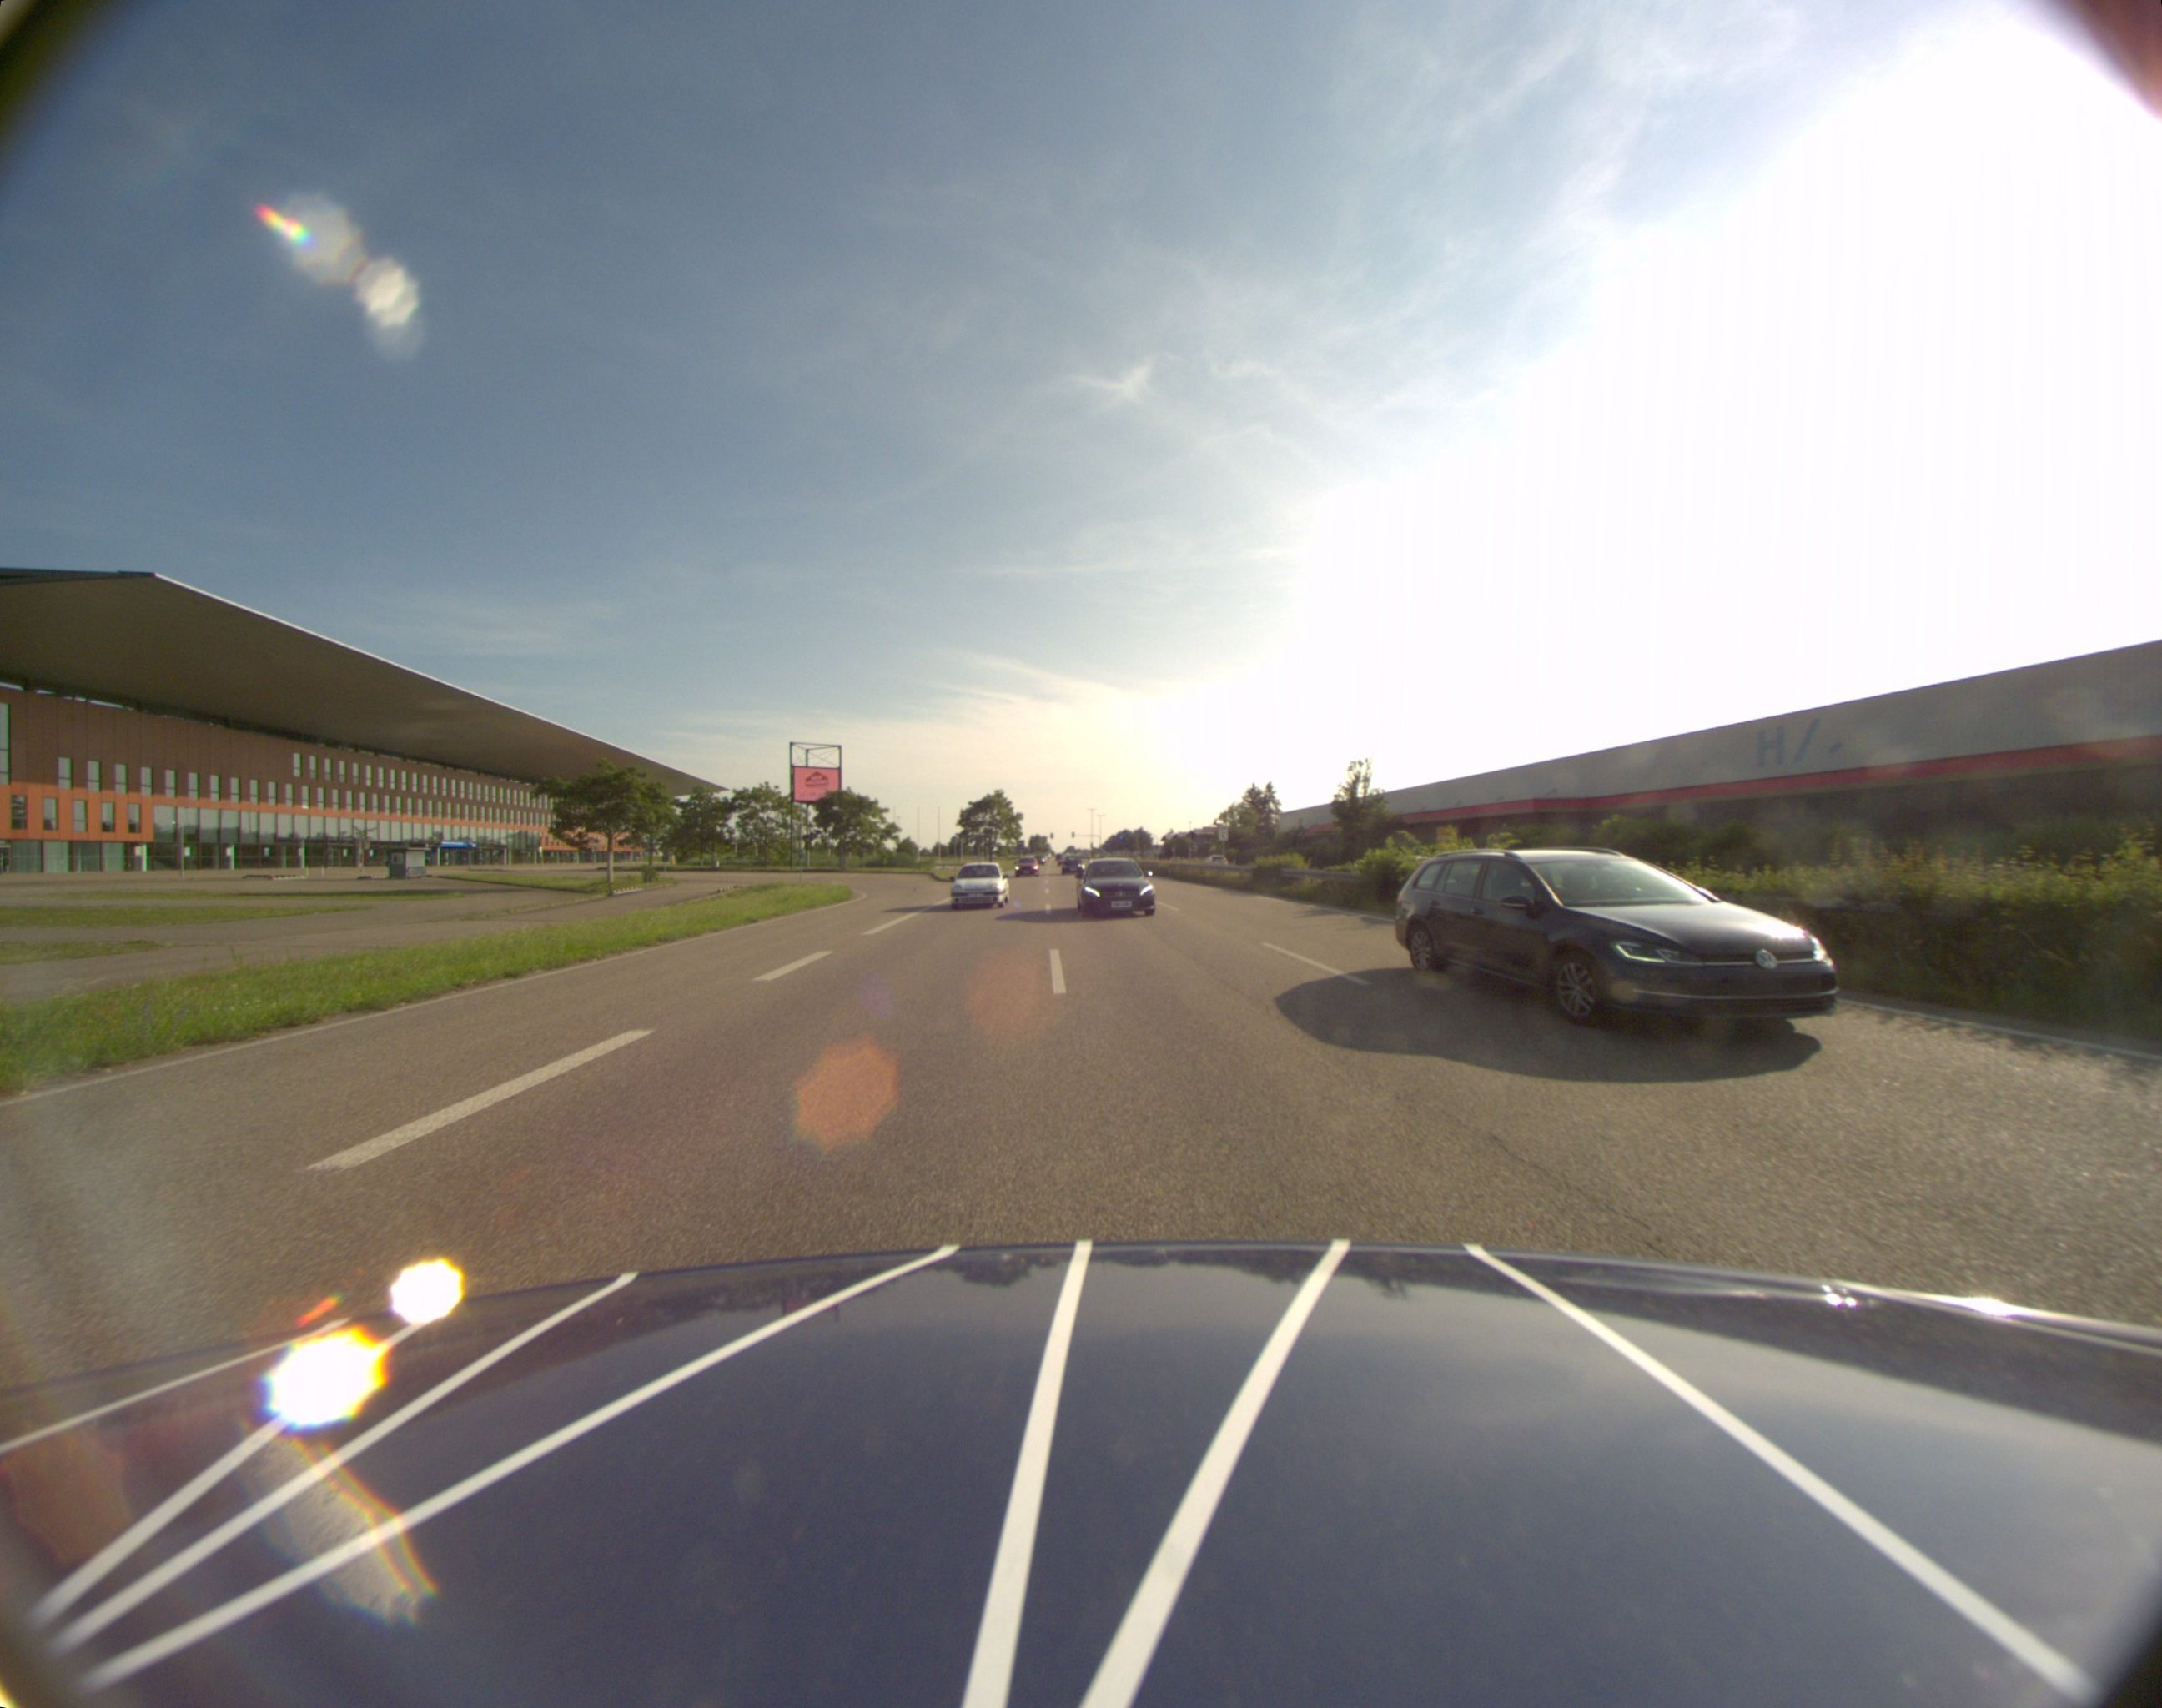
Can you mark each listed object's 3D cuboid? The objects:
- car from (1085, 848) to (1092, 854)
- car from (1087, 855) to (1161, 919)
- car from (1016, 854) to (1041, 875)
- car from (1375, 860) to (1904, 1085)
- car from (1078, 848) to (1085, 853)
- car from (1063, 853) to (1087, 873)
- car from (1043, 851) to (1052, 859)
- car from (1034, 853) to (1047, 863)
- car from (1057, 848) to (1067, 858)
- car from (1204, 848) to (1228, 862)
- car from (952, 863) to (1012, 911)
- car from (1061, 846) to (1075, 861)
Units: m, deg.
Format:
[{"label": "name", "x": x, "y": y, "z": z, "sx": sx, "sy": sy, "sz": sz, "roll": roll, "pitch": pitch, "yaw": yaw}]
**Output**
[{"label": "car", "x": 1.907, "y": -0.763, "z": 193.331, "sx": 1.711, "sy": 1.428, "sz": 3.564, "roll": -1, "pitch": 0, "yaw": -2}, {"label": "car", "x": 1.046, "y": 0.793, "z": 20.512, "sx": 1.577, "sy": 1.462, "sz": 5.021, "roll": -1, "pitch": 0, "yaw": -2}, {"label": "car", "x": -4.047, "y": 0.816, "z": 58.766, "sx": 1.751, "sy": 1.512, "sz": 3.738, "roll": -1, "pitch": 0, "yaw": -2}, {"label": "car", "x": 4.745, "y": 0.826, "z": 7.569, "sx": 1.650, "sy": 1.462, "sz": 4.775, "roll": -1, "pitch": 0, "yaw": -2}, {"label": "car", "x": 0.256, "y": -1.065, "z": 218.123, "sx": 1.751, "sy": 1.512, "sz": 3.738, "roll": -1, "pitch": 0, "yaw": -4}, {"label": "car", "x": -0.519, "y": 0.700, "z": 61.549, "sx": 1.758, "sy": 1.499, "sz": 3.421, "roll": -1, "pitch": 0, "yaw": -2}, {"label": "car", "x": -6.387, "y": 0.203, "z": 144.910, "sx": 1.751, "sy": 1.512, "sz": 3.738, "roll": -1, "pitch": 0, "yaw": -2}, {"label": "car", "x": -6.126, "y": 0.557, "z": 115.128, "sx": 1.751, "sy": 1.512, "sz": 3.738, "roll": -1, "pitch": 0, "yaw": -2}, {"label": "car", "x": -4.187, "y": -0.178, "z": 165.009, "sx": 1.999, "sy": 2.002, "sz": 3.999, "roll": -1, "pitch": 0, "yaw": -2}, {"label": "car", "x": 14.454, "y": 0.090, "z": 81.763, "sx": 1.784, "sy": 1.416, "sz": 3.999, "roll": 0, "pitch": 1, "yaw": -1}, {"label": "car", "x": -3.125, "y": 1.002, "z": 24.500, "sx": 1.578, "sy": 1.371, "sz": 3.451, "roll": -1, "pitch": 0, "yaw": -2}, {"label": "car", "x": -1.830, "y": -0.074, "z": 105.933, "sx": 1.799, "sy": 1.926, "sz": 3.999, "roll": -1, "pitch": 0, "yaw": -2}]
